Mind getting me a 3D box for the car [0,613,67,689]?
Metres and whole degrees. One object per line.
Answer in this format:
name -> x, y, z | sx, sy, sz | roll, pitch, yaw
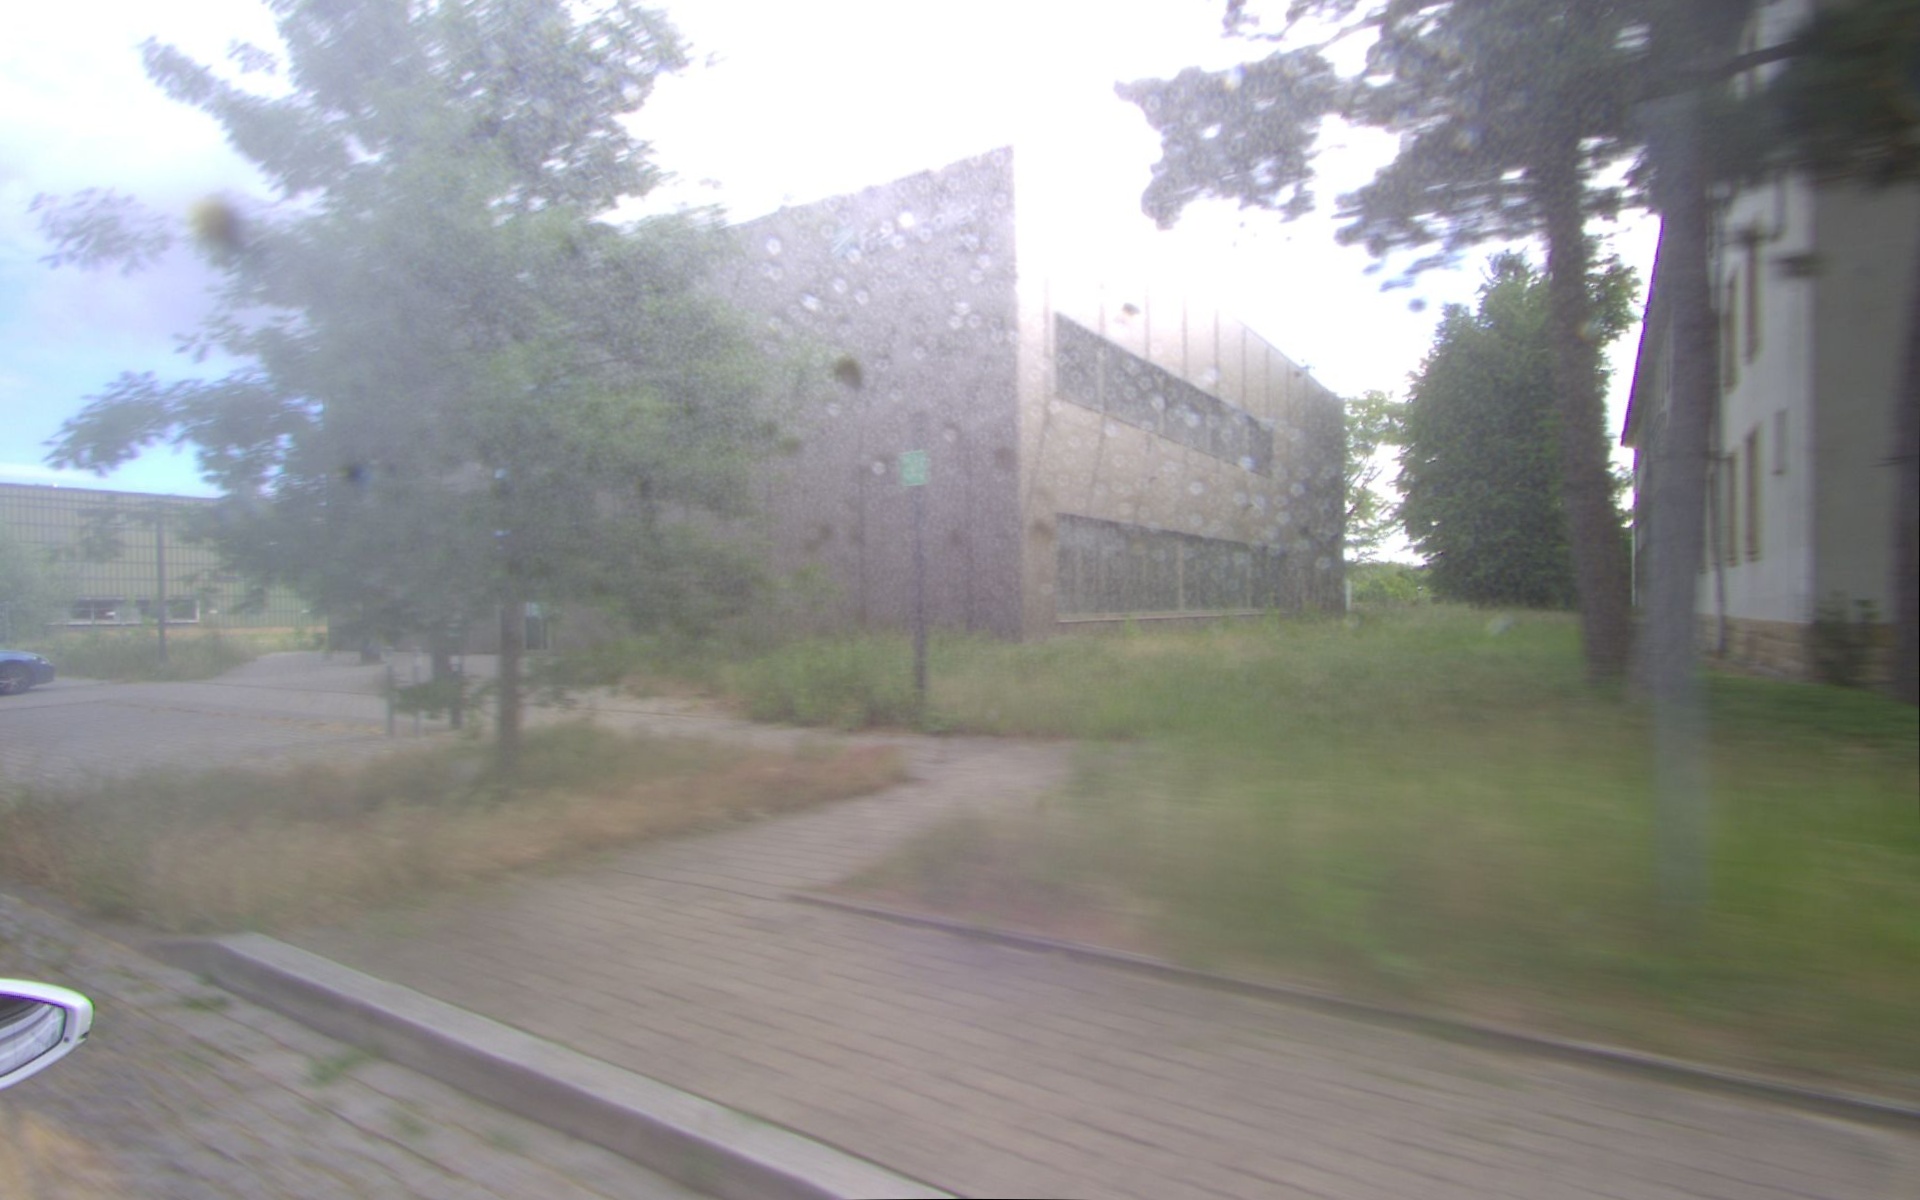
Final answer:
car -> -20.825, 1.108, 19.708 | 1.803, 1.495, 4.482 | 0, 2, 30
